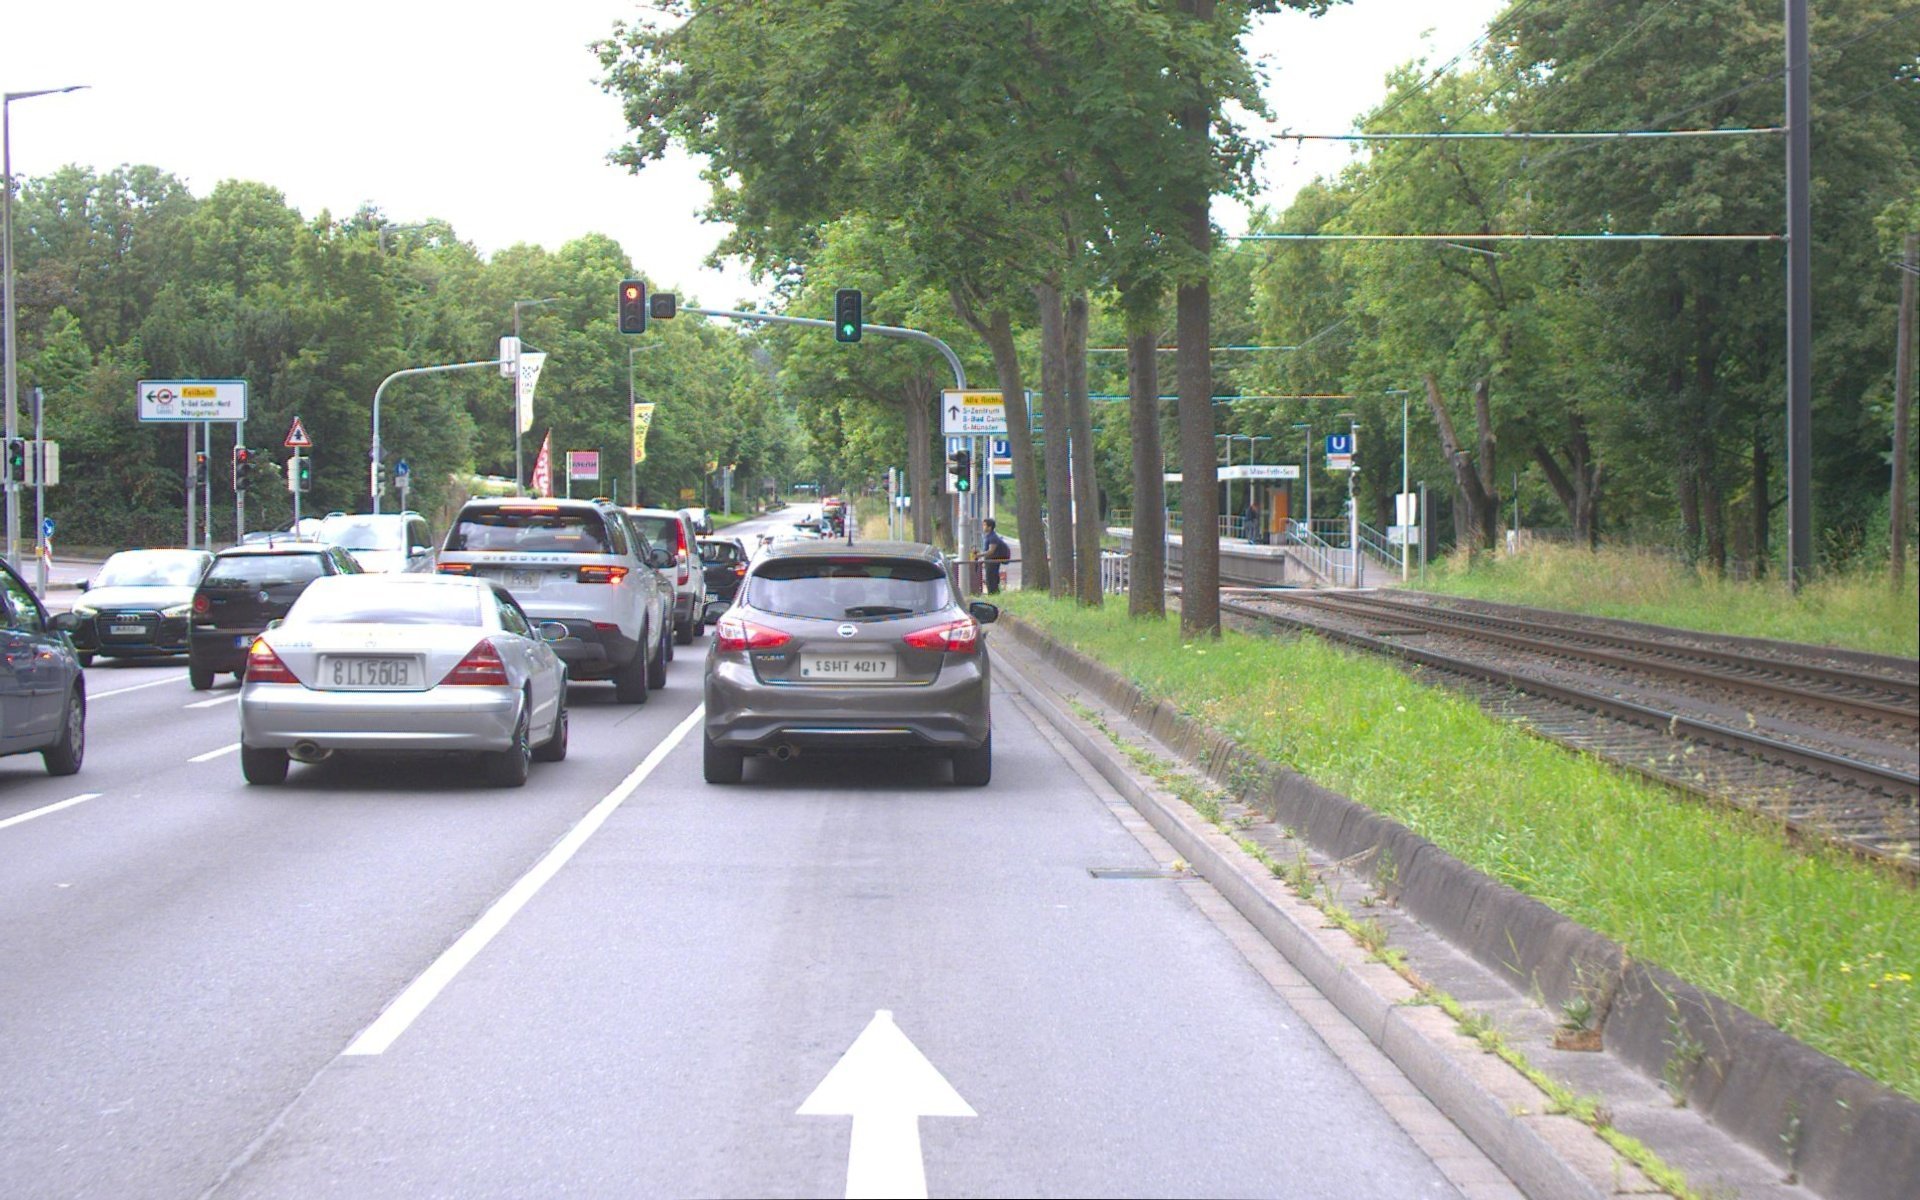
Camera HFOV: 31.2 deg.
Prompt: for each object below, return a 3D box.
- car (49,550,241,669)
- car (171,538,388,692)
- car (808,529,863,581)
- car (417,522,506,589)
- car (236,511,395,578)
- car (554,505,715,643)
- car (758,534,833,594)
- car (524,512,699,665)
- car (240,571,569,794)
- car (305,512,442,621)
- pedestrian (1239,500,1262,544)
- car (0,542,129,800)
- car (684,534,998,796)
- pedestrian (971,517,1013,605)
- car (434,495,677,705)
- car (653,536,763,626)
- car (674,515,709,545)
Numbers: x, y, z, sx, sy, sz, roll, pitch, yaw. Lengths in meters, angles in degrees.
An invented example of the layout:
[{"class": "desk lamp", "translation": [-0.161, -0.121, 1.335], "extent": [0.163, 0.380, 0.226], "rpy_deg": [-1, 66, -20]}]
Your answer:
[{"class": "car", "translation": [-10.175, 0.088, 43.147], "extent": [1.630, 1.390, 3.833], "rpy_deg": [1, 1, -2]}, {"class": "car", "translation": [-7.033, 0.110, 35.851], "extent": [1.556, 1.461, 3.808], "rpy_deg": [-2, 1, -1]}, {"class": "car", "translation": [-3.800, -1.397, 105.367], "extent": [1.503, 1.523, 3.671], "rpy_deg": [1, 1, 0]}, {"class": "car", "translation": [-12.132, -1.093, 83.839], "extent": [1.739, 1.533, 3.910], "rpy_deg": [2, 1, -2]}, {"class": "car", "translation": [-17.826, -1.525, 95.279], "extent": [1.946, 1.805, 4.436], "rpy_deg": [2, 1, 29]}, {"class": "car", "translation": [-4.554, -0.399, 48.805], "extent": [1.907, 1.837, 5.282], "rpy_deg": [0, 1, -2]}, {"class": "car", "translation": [-4.190, -0.943, 87.946], "extent": [1.710, 1.470, 3.671], "rpy_deg": [1, 1, 0]}, {"class": "car", "translation": [-4.066, -0.150, 40.667], "extent": [1.751, 1.712, 4.335], "rpy_deg": [0, 1, -2]}, {"class": "car", "translation": [-3.451, 0.465, 21.911], "extent": [1.555, 1.262, 3.823], "rpy_deg": [1, 1, -1]}, {"class": "car", "translation": [-10.306, -0.609, 60.630], "extent": [1.791, 1.825, 4.410], "rpy_deg": [-1, 1, -2]}, {"class": "pedestrian", "translation": [10.202, -2.726, 120.660], "extent": [0.718, 1.506, 0.724], "rpy_deg": [2, 0, 1]}, {"class": "car", "translation": [-6.264, 0.402, 20.564], "extent": [1.591, 1.463, 3.929], "rpy_deg": [-1, 1, 0]}, {"class": "car", "translation": [-0.701, 0.349, 22.394], "extent": [1.837, 1.523, 3.929], "rpy_deg": [1, 1, 0]}, {"class": "pedestrian", "translation": [0.648, -0.790, 69.031], "extent": [0.752, 1.731, 0.839], "rpy_deg": [-2, 1, 3]}, {"class": "car", "translation": [-3.728, -0.025, 32.379], "extent": [1.803, 1.789, 4.503], "rpy_deg": [1, 1, -1]}, {"class": "car", "translation": [-4.269, -0.348, 58.627], "extent": [1.703, 1.475, 3.668], "rpy_deg": [0, 1, -2]}, {"class": "car", "translation": [-15.104, -3.932, 193.788], "extent": [1.901, 1.673, 5.081], "rpy_deg": [0, 1, -4]}]
